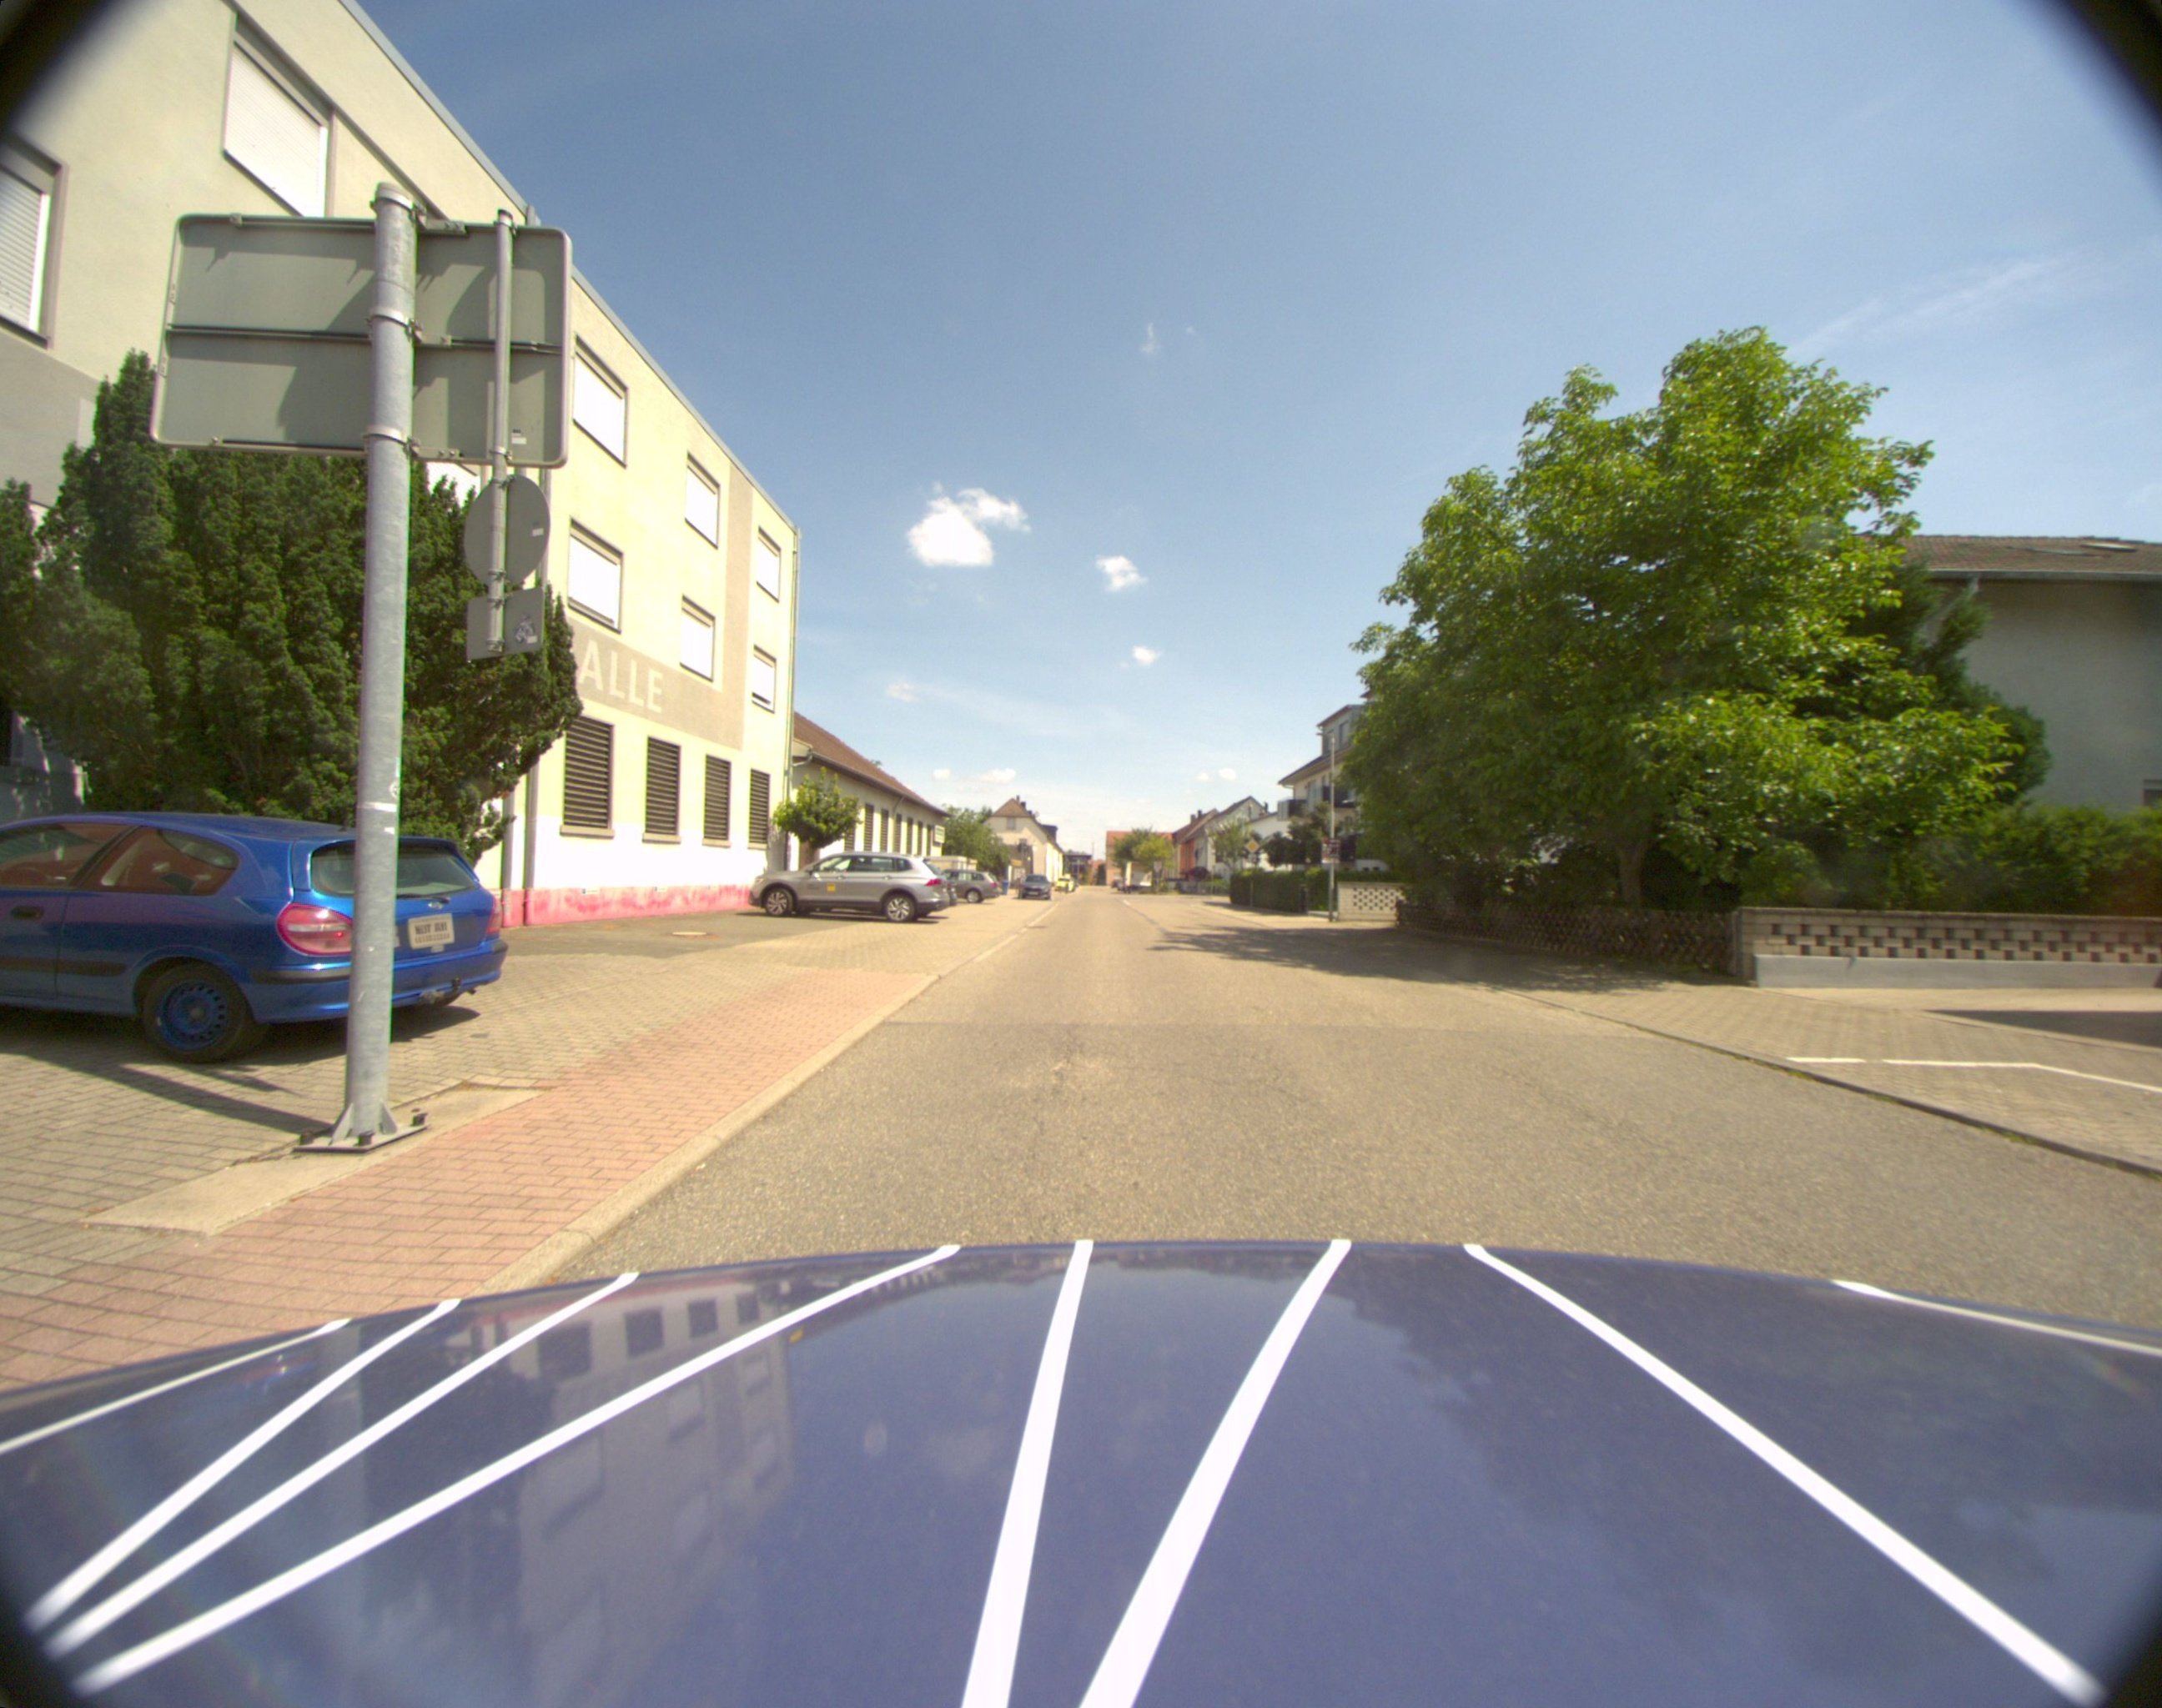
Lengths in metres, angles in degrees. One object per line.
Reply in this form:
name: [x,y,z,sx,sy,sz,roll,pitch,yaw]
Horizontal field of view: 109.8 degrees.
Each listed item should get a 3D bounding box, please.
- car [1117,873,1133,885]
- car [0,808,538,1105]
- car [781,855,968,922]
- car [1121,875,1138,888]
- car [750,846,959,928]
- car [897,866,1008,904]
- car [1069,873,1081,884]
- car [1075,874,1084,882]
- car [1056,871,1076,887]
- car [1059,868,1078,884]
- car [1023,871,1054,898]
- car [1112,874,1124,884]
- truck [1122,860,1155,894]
car: [5.798,3.244,99.949,1.720,1.491,4.216,4,-2,0]
car: [-6.551,0.532,5.186,4.333,1.431,1.779,4,1,0]
car: [-5.545,0.933,20.848,4.512,1.510,2.000,3,-1,0]
car: [5.961,3.391,93.416,1.720,1.491,4.216,4,-2,0]
car: [-5.402,0.795,18.574,4.465,1.687,1.923,3,-1,-1]
car: [-5.694,1.380,34.101,4.537,1.445,1.918,3,-1,1]
car: [-1.000,4.016,124.415,1.720,1.491,4.217,5,-1,1]
car: [-0.301,4.803,154.701,1.720,1.491,4.217,5,-1,1]
car: [-1.429,2.451,74.555,1.720,1.389,4.217,5,-2,1]
car: [-1.265,2.288,79.416,1.720,1.491,4.217,5,-1,1]
car: [-2.479,1.786,44.939,1.632,1.480,4.140,2,-2,-1]
car: [6.359,4.282,130.237,1.720,1.491,4.216,4,-2,0]
truck: [5.929,2.373,79.546,2.444,3.226,7.037,5,-1,-1]
